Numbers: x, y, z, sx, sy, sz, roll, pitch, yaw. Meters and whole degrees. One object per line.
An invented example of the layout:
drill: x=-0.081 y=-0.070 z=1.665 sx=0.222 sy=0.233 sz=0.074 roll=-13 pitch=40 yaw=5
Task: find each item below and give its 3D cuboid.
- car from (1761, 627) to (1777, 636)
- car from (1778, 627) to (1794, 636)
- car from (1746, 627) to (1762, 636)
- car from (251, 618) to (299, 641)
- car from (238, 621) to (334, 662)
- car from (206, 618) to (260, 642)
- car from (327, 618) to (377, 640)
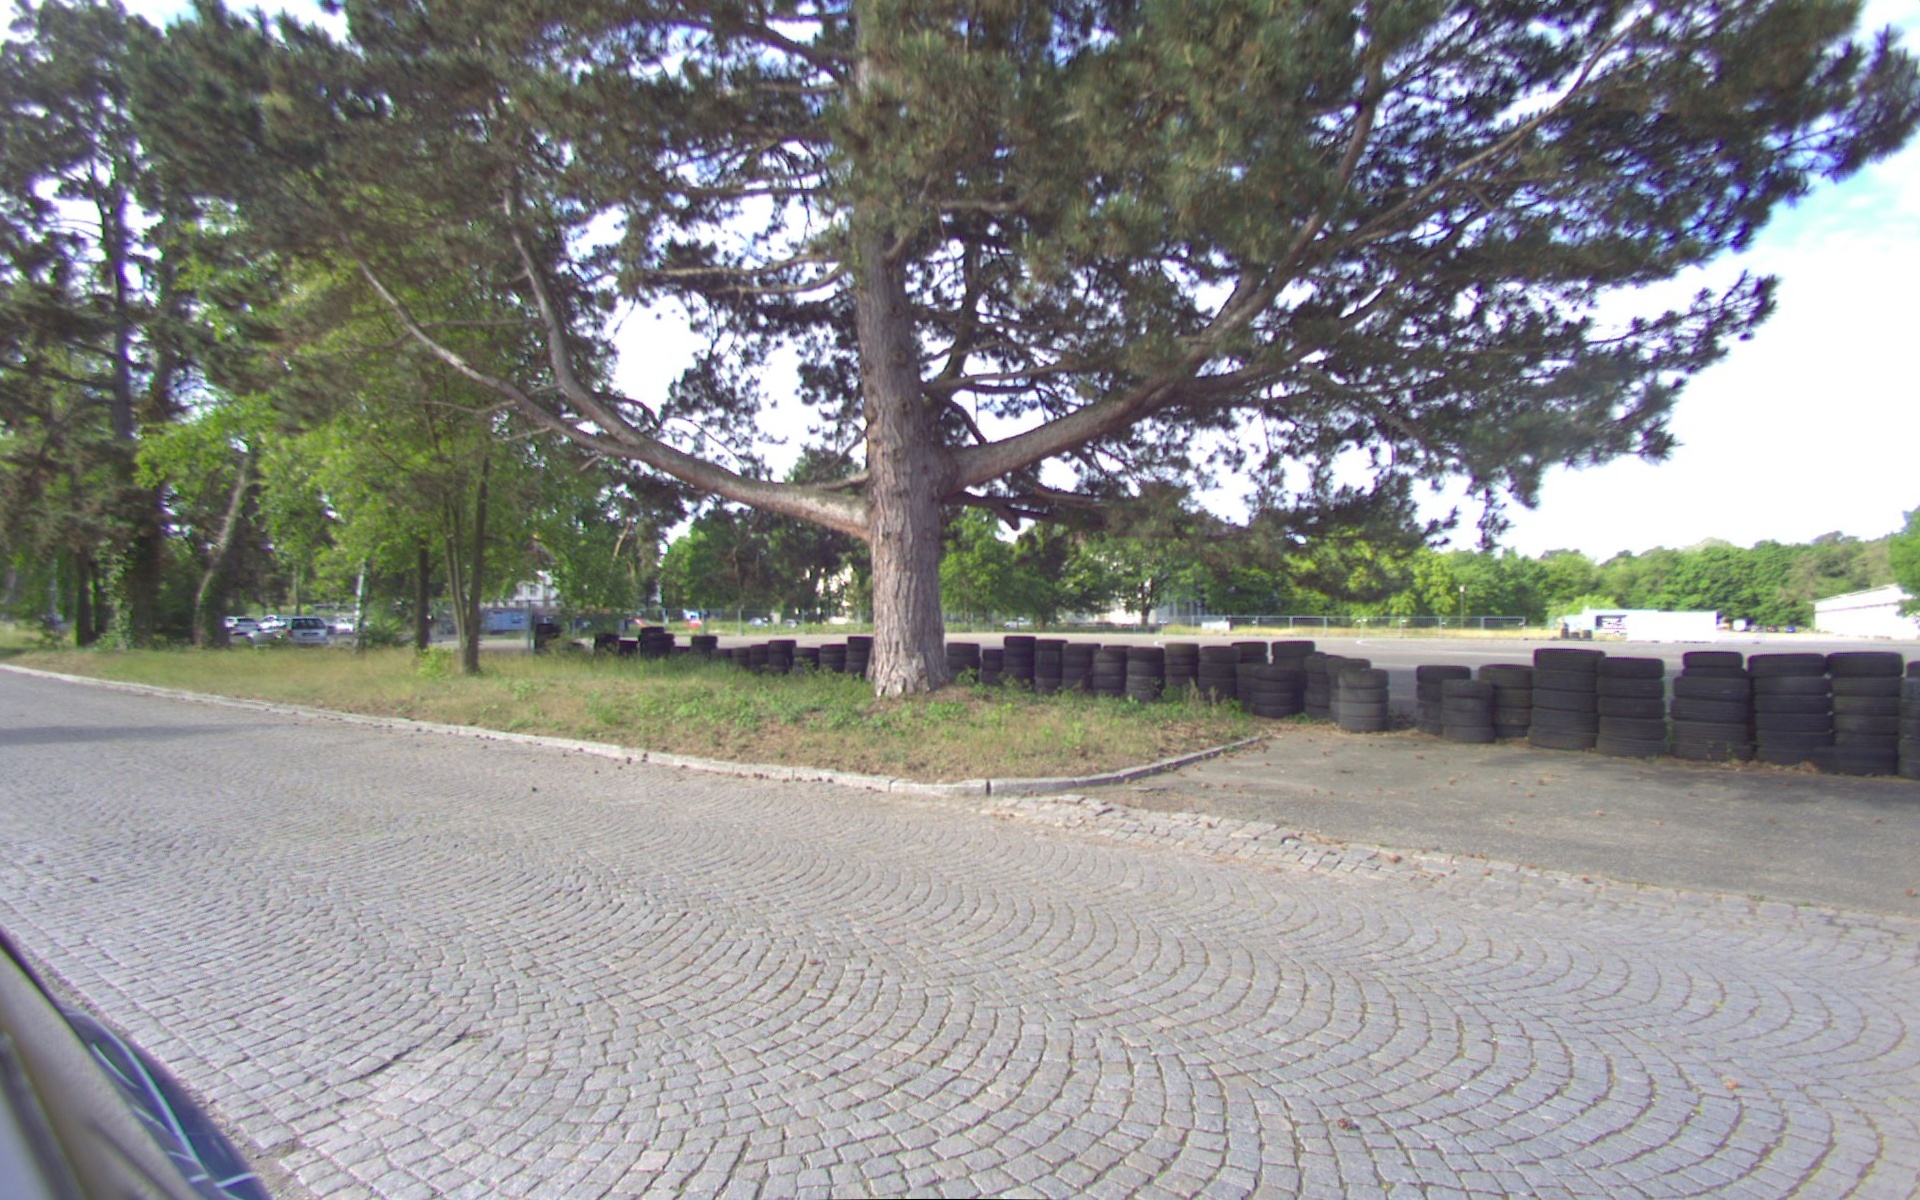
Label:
car: x=155.976 y=6.097 z=195.133 sx=2.032 sy=1.822 sz=3.955 roll=-1 pitch=-2 yaw=33
car: x=158.021 y=5.966 z=193.625 sx=1.994 sy=1.763 sz=3.955 roll=-1 pitch=-2 yaw=33
car: x=154.041 y=6.154 z=196.333 sx=1.994 sy=1.763 sz=3.955 roll=-1 pitch=-2 yaw=33
car: x=-49.462 y=2.134 z=73.062 sx=3.996 sy=1.630 sz=1.803 roll=-1 pitch=-2 yaw=39
car: x=-26.849 y=1.627 z=40.286 sx=3.991 sy=1.553 sz=1.870 roll=-1 pitch=-2 yaw=35
car: x=-50.842 y=2.073 z=70.756 sx=3.993 sy=1.630 sz=1.975 roll=-1 pitch=-2 yaw=37
car: x=-46.721 y=2.204 z=77.781 sx=3.993 sy=1.630 sz=1.975 roll=-1 pitch=-2 yaw=37
